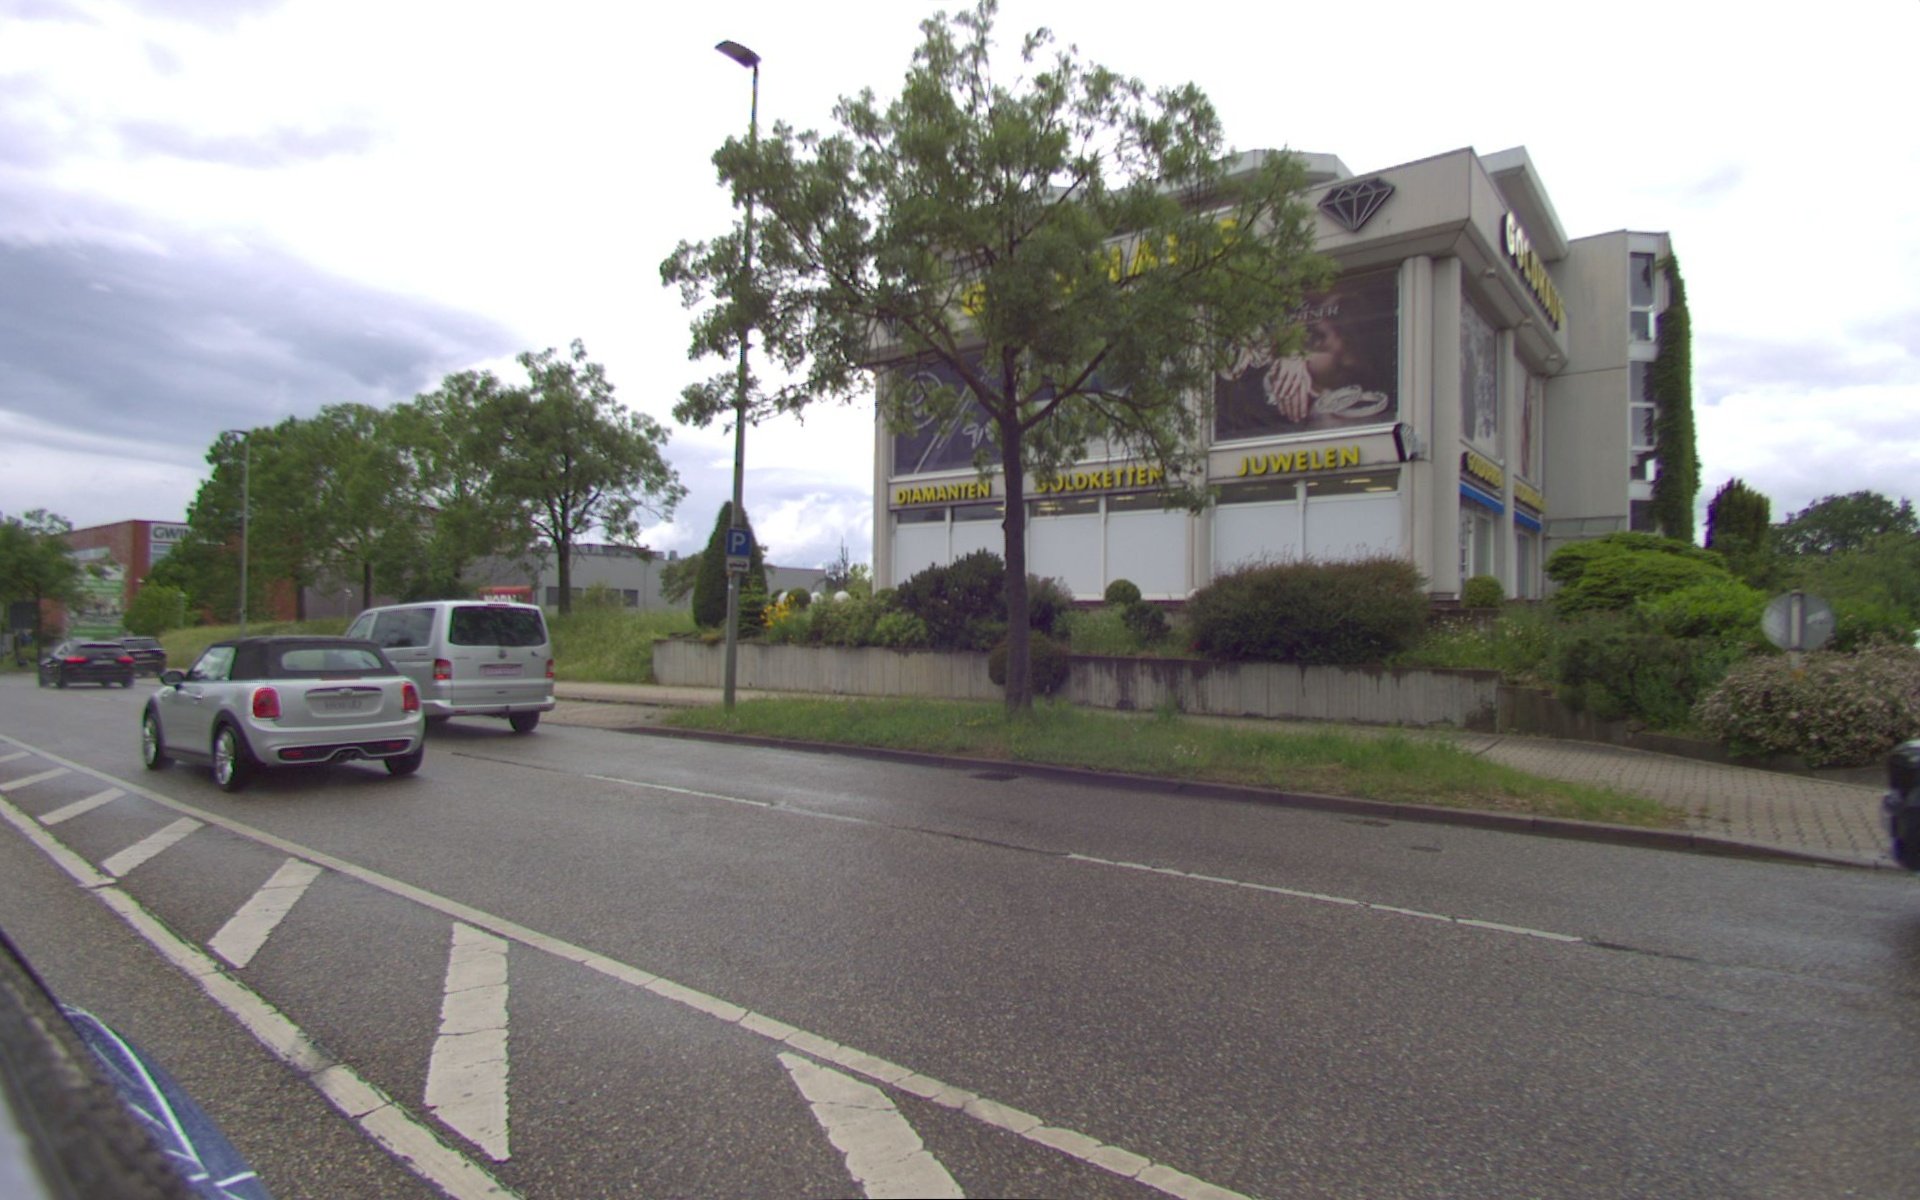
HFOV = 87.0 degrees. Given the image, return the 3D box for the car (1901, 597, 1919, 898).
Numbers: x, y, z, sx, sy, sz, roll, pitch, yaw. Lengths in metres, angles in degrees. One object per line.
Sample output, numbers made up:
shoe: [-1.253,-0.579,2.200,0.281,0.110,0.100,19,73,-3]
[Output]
car: [6.651,0.730,3.689,4.527,1.623,1.734,-2,-4,39]

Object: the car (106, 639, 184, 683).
car: [-33.751,2.511,41.872,4.485,1.681,1.708,-3,-1,41]

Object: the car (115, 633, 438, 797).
car: [-7.286,1.071,10.651,3.995,1.409,1.651,-1,-3,38]

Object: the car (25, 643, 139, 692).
car: [-27.224,2.050,31.345,4.292,1.412,1.776,-2,-4,37]

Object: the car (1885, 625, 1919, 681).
car: [28.140,1.465,28.667,3.935,1.524,1.880,1,-2,-33]

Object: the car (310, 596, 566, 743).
car: [-8.343,1.034,15.966,4.894,1.998,1.778,-2,-4,40]
